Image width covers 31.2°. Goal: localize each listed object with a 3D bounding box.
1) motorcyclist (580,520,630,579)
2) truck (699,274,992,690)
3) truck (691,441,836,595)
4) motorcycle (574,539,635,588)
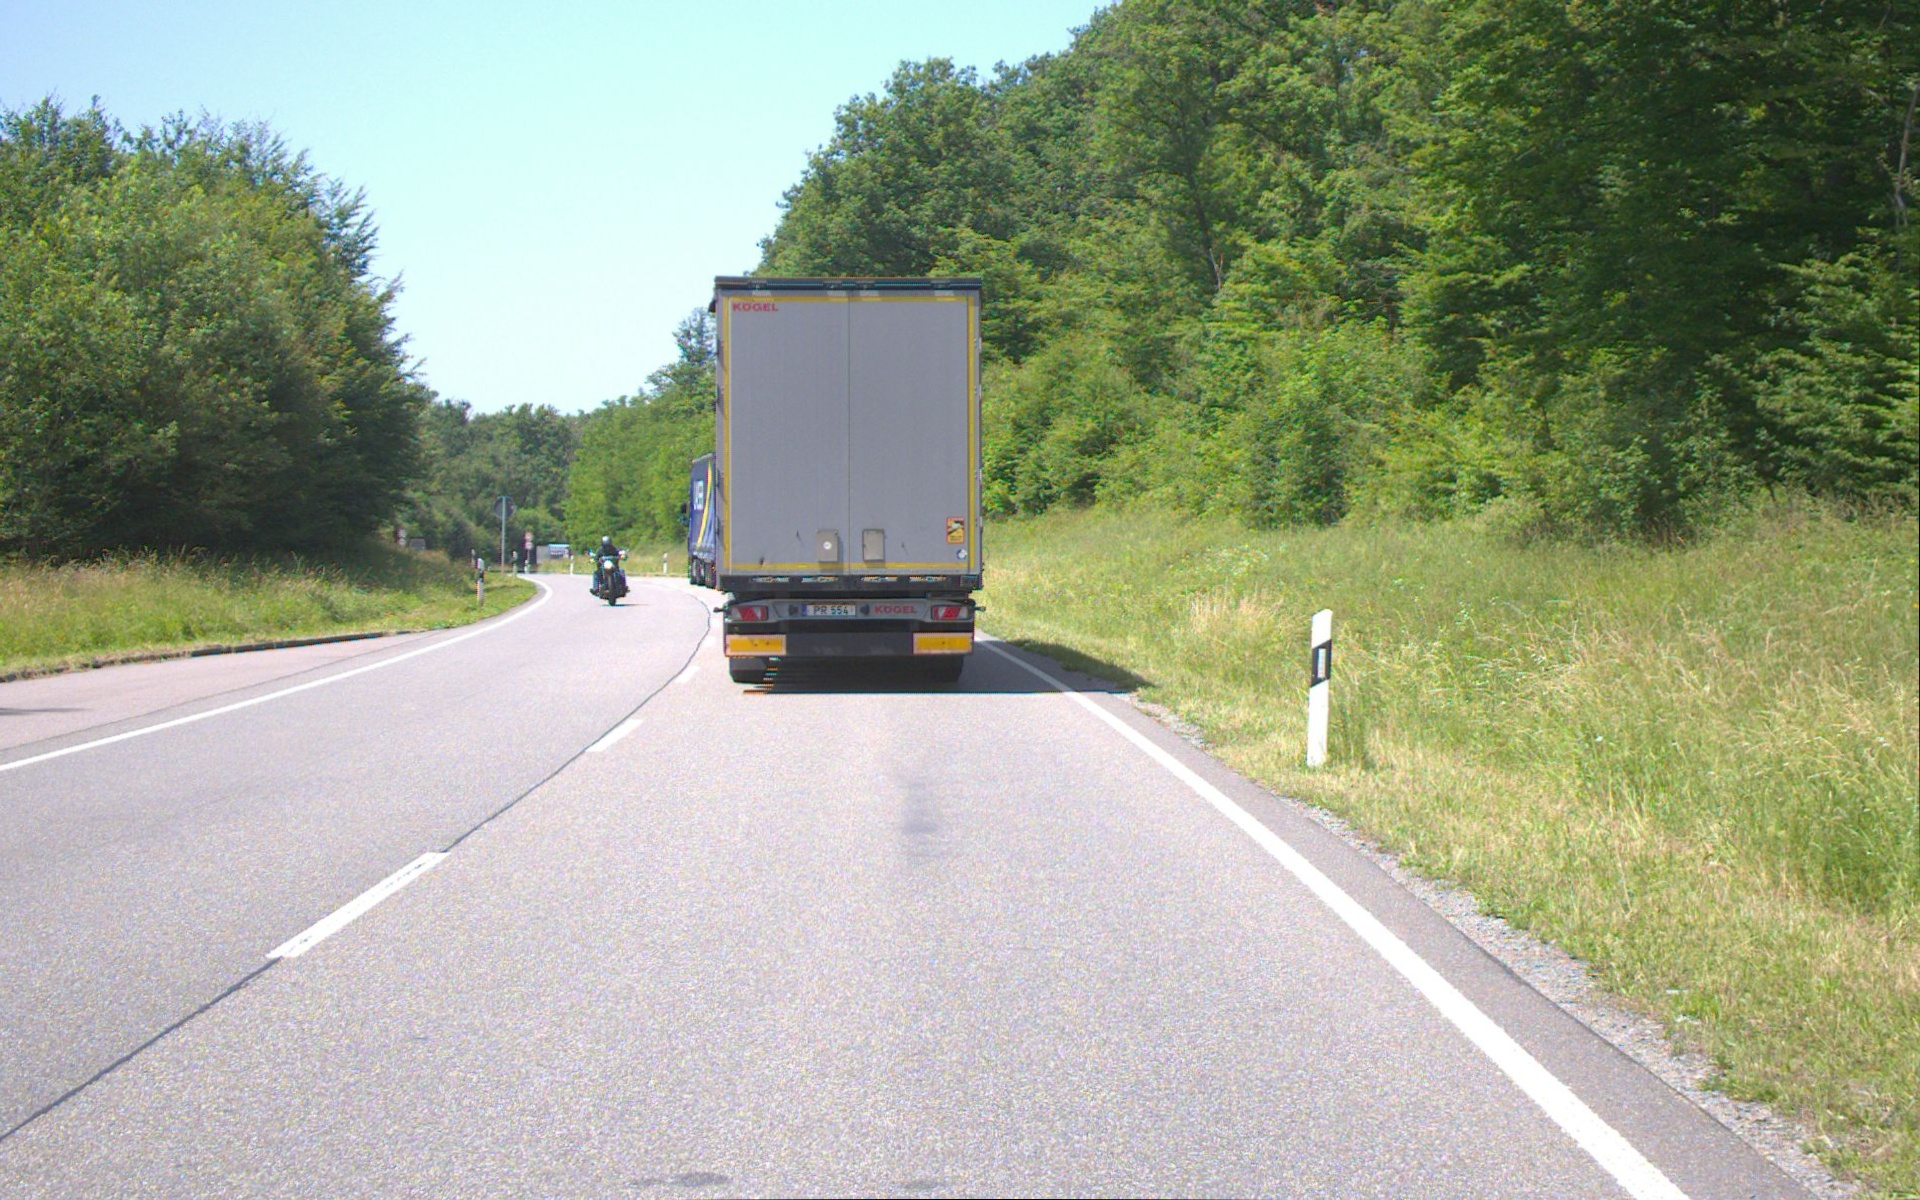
[{"bbox_3d":[-7.973,-1.135,77.202,1.009,1.322,0.966,0,1,1],"label":"motorcyclist"},{"bbox_3d":[-1.188,-1.222,38.757,2.761,3.933,12.198,0,1,-1],"label":"truck"},{"bbox_3d":[-6.230,-2.512,106.305,3.792,4.358,14.923,1,1,-6],"label":"truck"},{"bbox_3d":[-7.979,-0.834,77.364,1.014,1.059,2.772,0,1,1],"label":"motorcycle"}]
